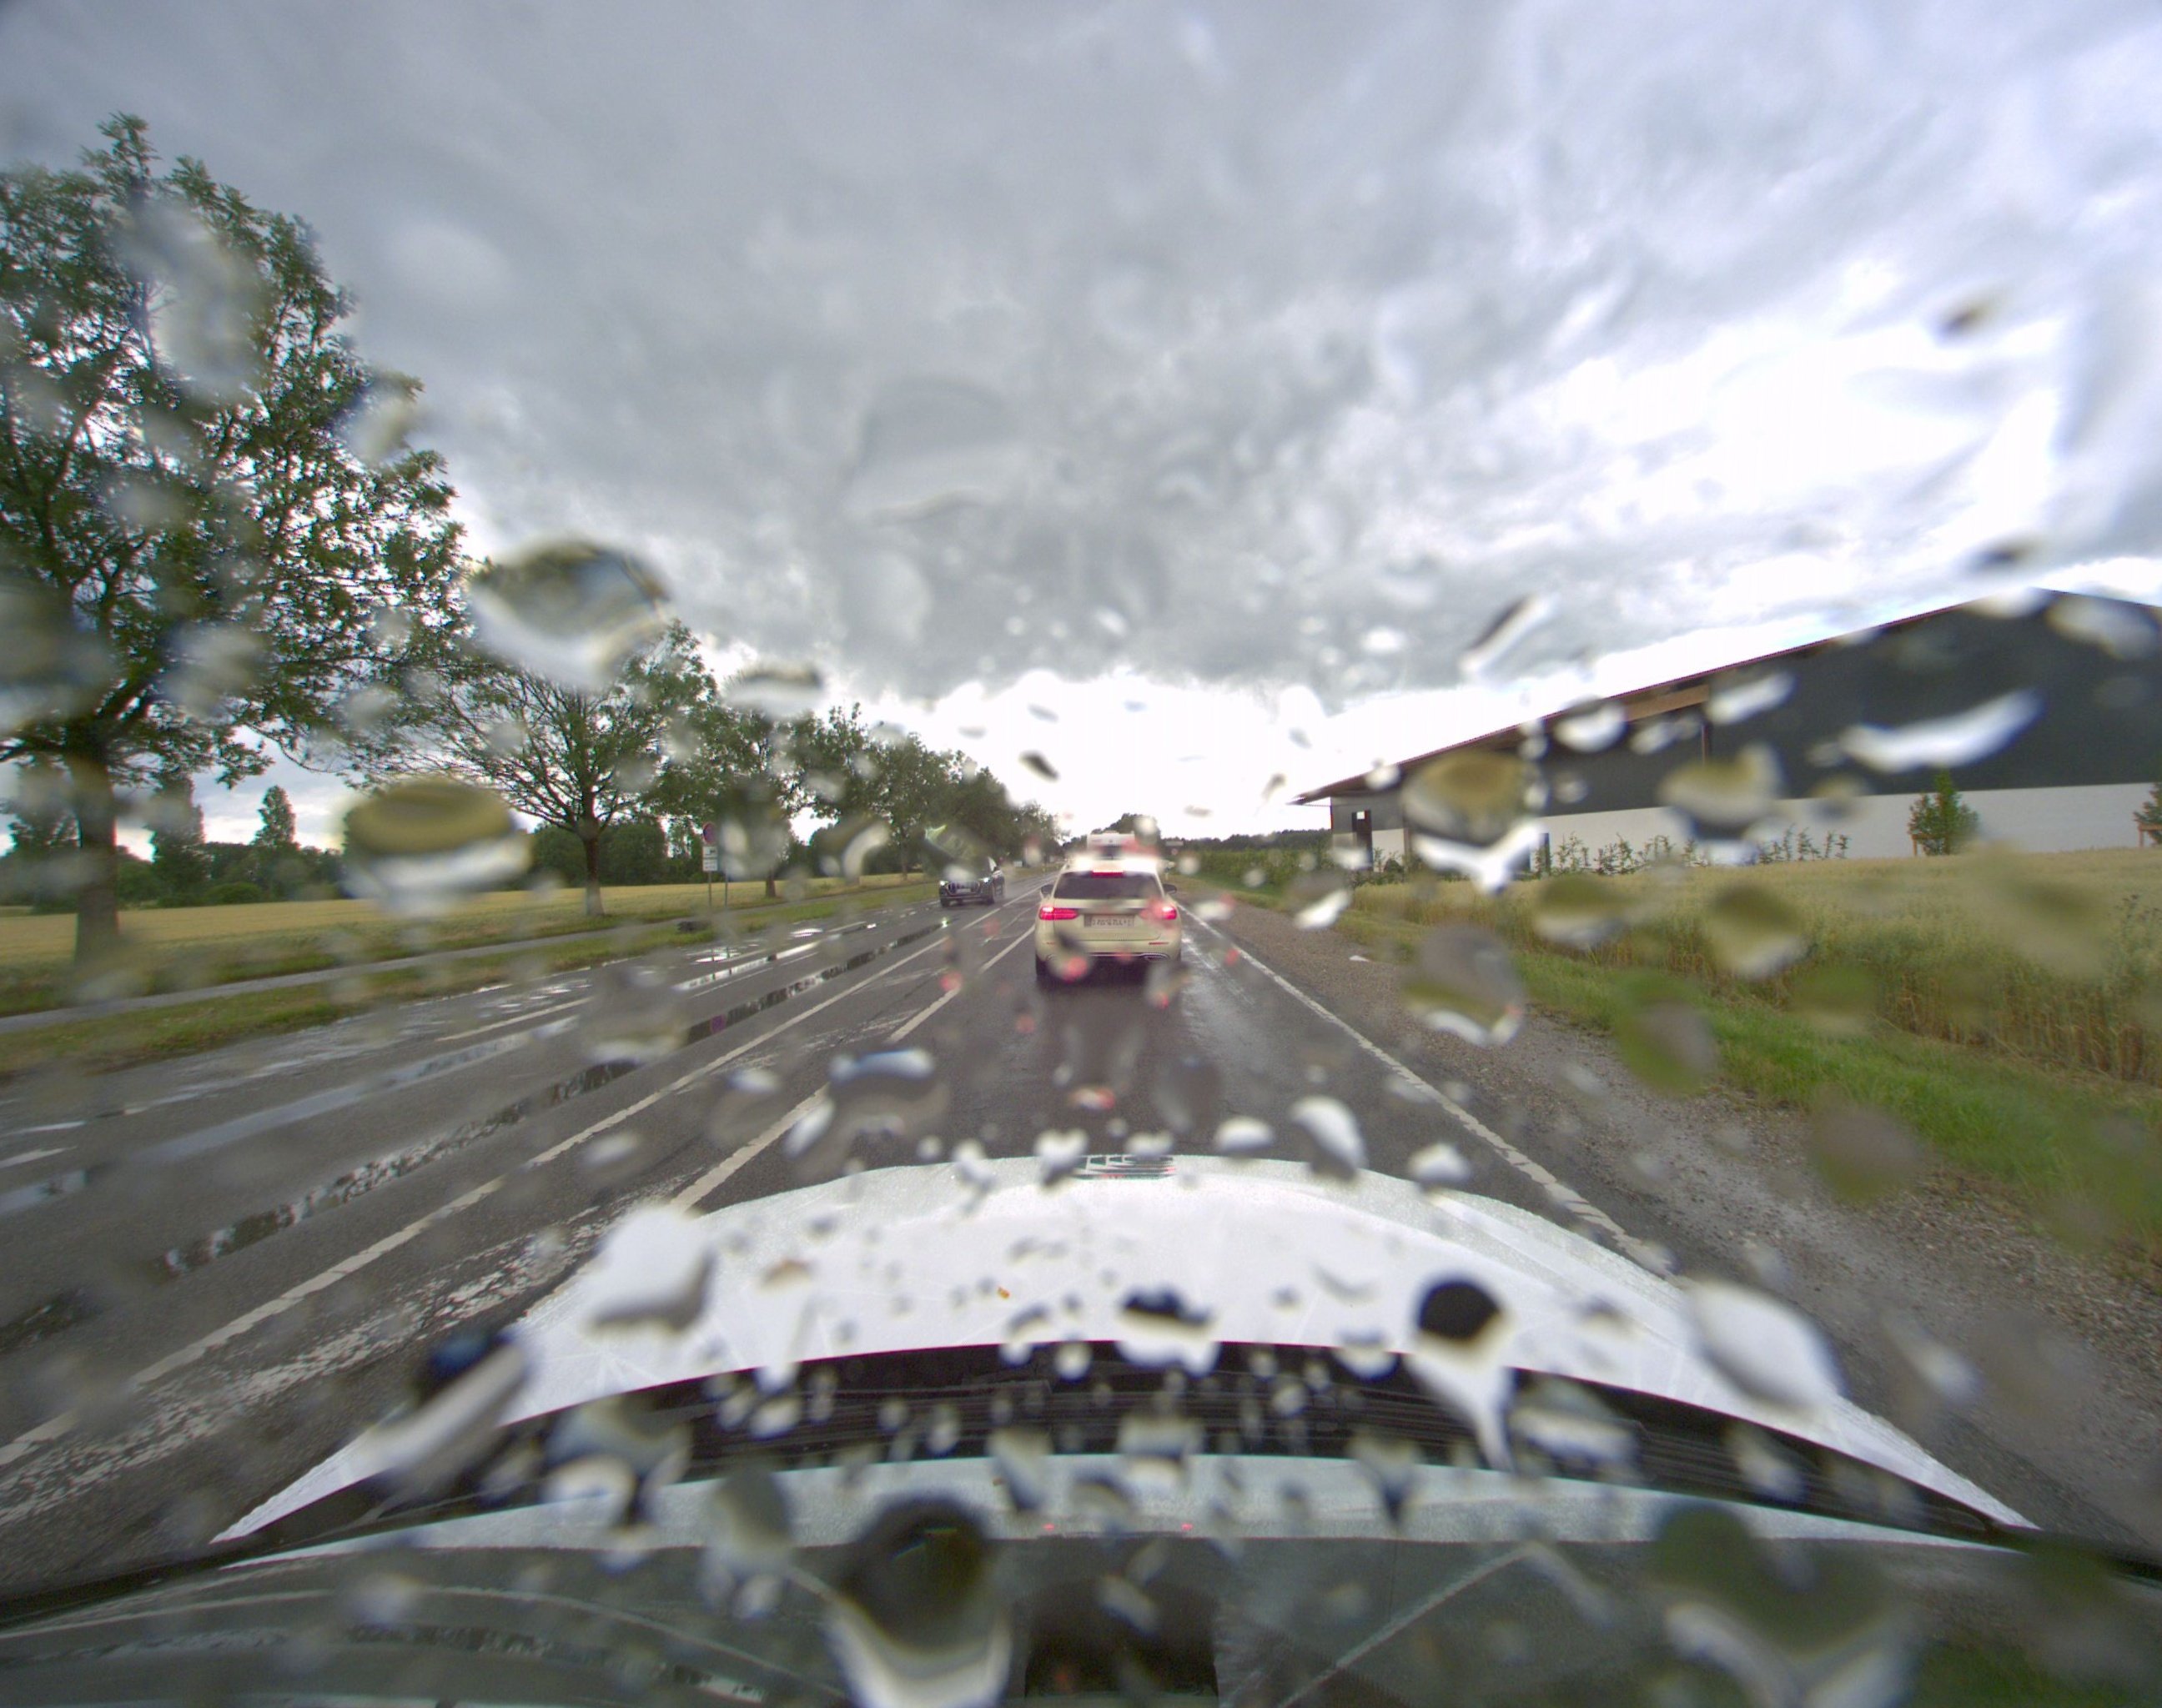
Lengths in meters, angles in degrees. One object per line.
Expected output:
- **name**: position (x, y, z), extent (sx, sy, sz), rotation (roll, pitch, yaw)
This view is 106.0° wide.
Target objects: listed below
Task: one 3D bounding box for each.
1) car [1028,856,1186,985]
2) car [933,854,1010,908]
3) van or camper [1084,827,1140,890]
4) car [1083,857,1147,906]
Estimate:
- **car**: position (0.382, 0.771, 11.362), extent (1.790, 1.464, 4.033), rotation (-1, 0, 2)
- **car**: position (-3.890, 0.923, 29.681), extent (1.909, 1.632, 4.359), rotation (-5, -1, 2)
- **van or camper**: position (1.583, 0.233, 40.853), extent (2.487, 2.831, 5.938), rotation (-3, 0, 3)
- **car**: position (1.057, 0.841, 26.445), extent (1.888, 1.429, 3.928), rotation (-1, 0, 1)
